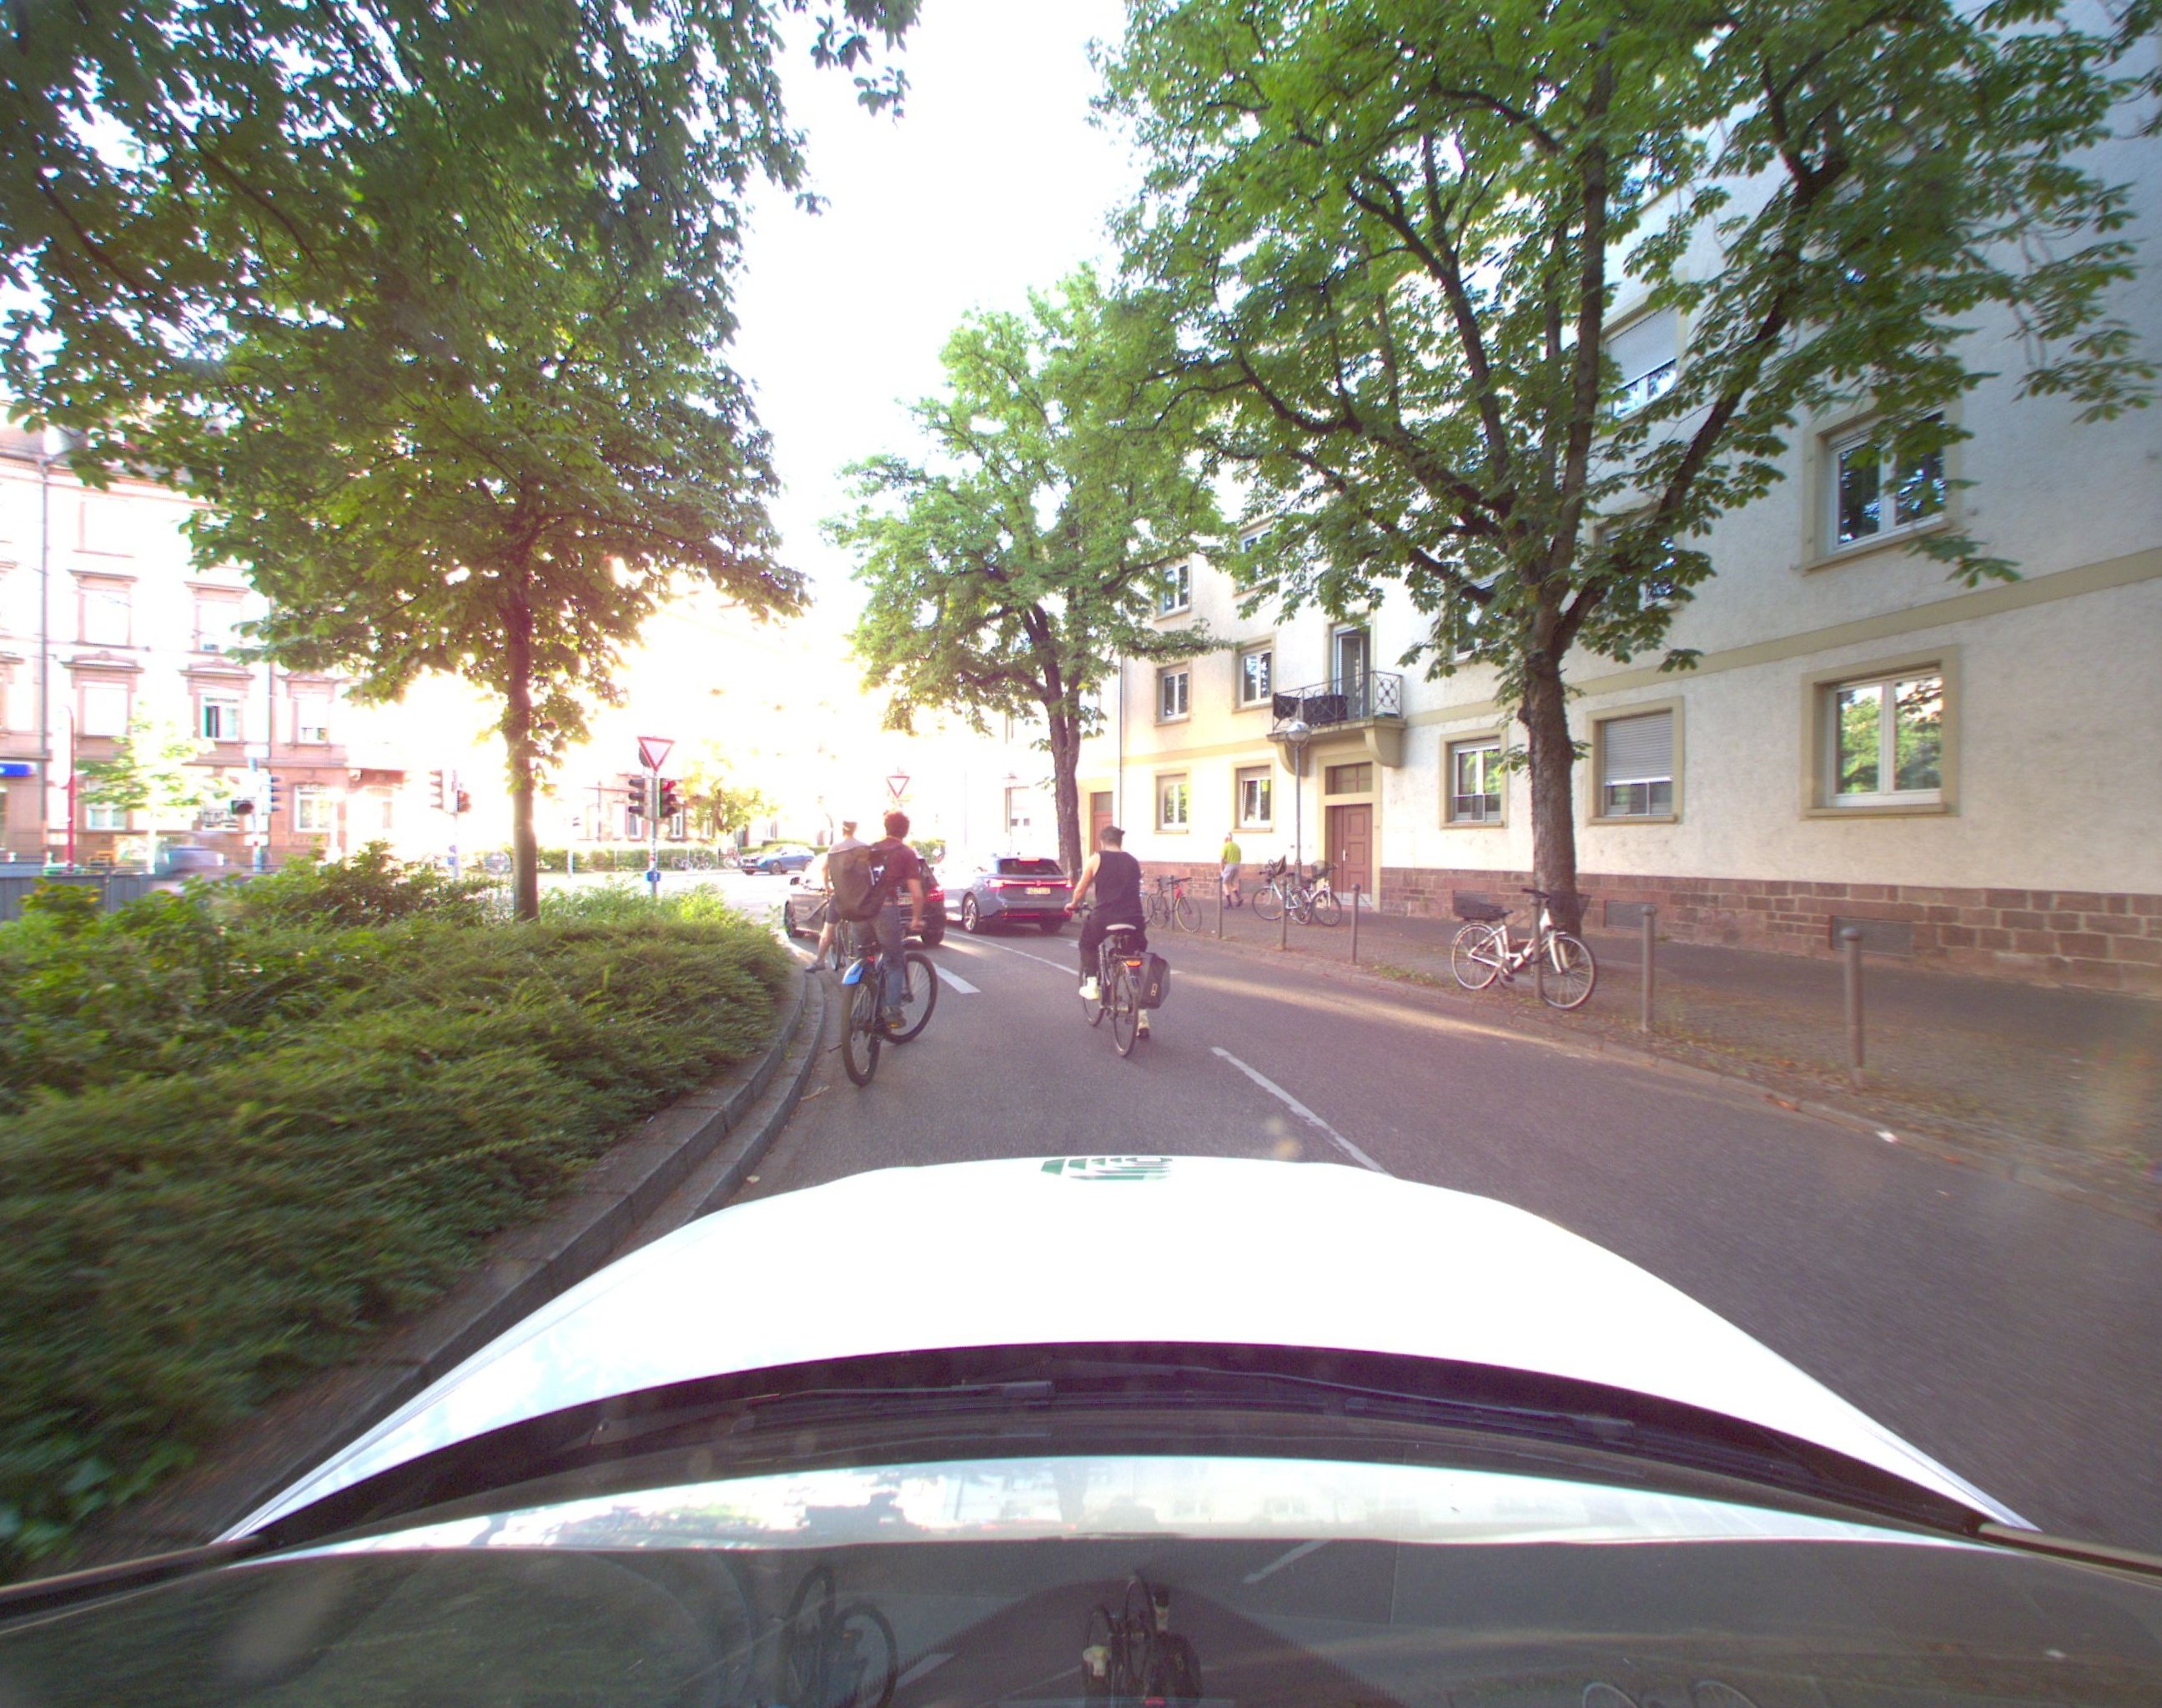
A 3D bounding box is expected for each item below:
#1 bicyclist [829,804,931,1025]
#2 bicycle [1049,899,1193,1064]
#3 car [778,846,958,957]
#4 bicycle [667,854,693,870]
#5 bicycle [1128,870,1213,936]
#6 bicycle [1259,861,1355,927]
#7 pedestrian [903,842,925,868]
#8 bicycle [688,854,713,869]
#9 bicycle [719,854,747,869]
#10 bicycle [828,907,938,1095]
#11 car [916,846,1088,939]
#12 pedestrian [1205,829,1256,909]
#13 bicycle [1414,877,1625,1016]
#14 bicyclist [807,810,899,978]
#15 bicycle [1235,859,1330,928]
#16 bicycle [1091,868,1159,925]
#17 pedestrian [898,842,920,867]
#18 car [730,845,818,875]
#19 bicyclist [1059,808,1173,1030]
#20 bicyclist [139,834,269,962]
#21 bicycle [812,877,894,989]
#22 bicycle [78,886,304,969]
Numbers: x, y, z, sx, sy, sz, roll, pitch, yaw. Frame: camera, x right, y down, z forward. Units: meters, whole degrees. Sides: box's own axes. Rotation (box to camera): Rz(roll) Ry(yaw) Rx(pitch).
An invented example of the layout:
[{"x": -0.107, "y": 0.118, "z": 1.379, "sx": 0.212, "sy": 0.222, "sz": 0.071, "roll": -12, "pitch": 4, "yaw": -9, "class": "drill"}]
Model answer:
[{"x": -1.491, "y": 0.412, "z": 6.163, "sx": 0.672, "sy": 1.514, "sz": 1.065, "roll": 0, "pitch": 0, "yaw": -12, "class": "bicyclist"}, {"x": 0.247, "y": 0.953, "z": 6.779, "sx": 0.738, "sy": 1.012, "sz": 2.054, "roll": -2, "pitch": 0, "yaw": -10, "class": "bicycle"}, {"x": -3.736, "y": 0.677, "z": 13.790, "sx": 1.825, "sy": 1.543, "sz": 3.918, "roll": -2, "pitch": 1, "yaw": -32, "class": "car"}, {"x": -22.089, "y": 0.444, "z": 44.870, "sx": 0.444, "sy": 0.861, "sz": 1.232, "roll": 1, "pitch": 0, "yaw": 35, "class": "bicycle"}, {"x": 1.608, "y": 0.854, "z": 14.977, "sx": 0.619, "sy": 1.058, "sz": 1.912, "roll": -2, "pitch": 1, "yaw": -26, "class": "bicycle"}, {"x": 4.277, "y": 0.720, "z": 15.587, "sx": 0.584, "sy": 1.114, "sz": 2.100, "roll": -1, "pitch": 1, "yaw": -24, "class": "bicycle"}, {"x": -12.829, "y": 0.074, "z": 62.491, "sx": 1.149, "sy": 1.962, "sz": 1.393, "roll": 1, "pitch": 0, "yaw": 15, "class": "pedestrian"}, {"x": -21.456, "y": 0.407, "z": 45.908, "sx": 0.444, "sy": 0.861, "sz": 1.232, "roll": 1, "pitch": 0, "yaw": 35, "class": "bicycle"}, {"x": -20.597, "y": 0.447, "z": 48.224, "sx": 0.444, "sy": 0.861, "sz": 1.456, "roll": 1, "pitch": 0, "yaw": 35, "class": "bicycle"}, {"x": -1.455, "y": 0.983, "z": 6.163, "sx": 0.674, "sy": 1.054, "sz": 2.053, "roll": 0, "pitch": -1, "yaw": -12, "class": "bicycle"}, {"x": -1.685, "y": 0.638, "z": 16.083, "sx": 1.904, "sy": 1.577, "sz": 3.962, "roll": 0, "pitch": 0, "yaw": -30, "class": "car"}, {"x": 3.477, "y": 0.324, "z": 18.905, "sx": 1.003, "sy": 1.795, "sz": 0.651, "roll": -2, "pitch": 1, "yaw": -42, "class": "pedestrian"}, {"x": 4.308, "y": 0.845, "z": 8.196, "sx": 0.617, "sy": 1.112, "sz": 1.980, "roll": -3, "pitch": 1, "yaw": -17, "class": "bicycle"}, {"x": -2.786, "y": 0.440, "z": 9.880, "sx": 0.855, "sy": 1.898, "sz": 1.129, "roll": 0, "pitch": 0, "yaw": -29, "class": "bicyclist"}, {"x": 3.742, "y": 0.696, "z": 15.311, "sx": 0.496, "sy": 1.172, "sz": 2.100, "roll": -4, "pitch": 2, "yaw": -24, "class": "bicycle"}, {"x": 0.844, "y": 0.817, "z": 16.369, "sx": 0.522, "sy": 0.999, "sz": 2.176, "roll": 0, "pitch": 0, "yaw": -21, "class": "bicycle"}, {"x": -13.497, "y": 0.036, "z": 63.799, "sx": 1.149, "sy": 1.962, "sz": 1.393, "roll": 1, "pitch": 0, "yaw": 15, "class": "pedestrian"}, {"x": -16.482, "y": 0.295, "z": 43.954, "sx": 1.977, "sy": 1.496, "sz": 4.397, "roll": 1, "pitch": 0, "yaw": 21, "class": "car"}, {"x": 0.263, "y": 0.491, "z": 6.704, "sx": 0.752, "sy": 1.682, "sz": 0.910, "roll": 0, "pitch": 0, "yaw": -11, "class": "bicyclist"}, {"x": -12.384, "y": 0.581, "z": 11.528, "sx": 0.688, "sy": 1.716, "sz": 1.052, "roll": 0, "pitch": 0, "yaw": 21, "class": "bicyclist"}, {"x": -2.843, "y": 0.896, "z": 10.013, "sx": 0.600, "sy": 1.161, "sz": 2.024, "roll": 0, "pitch": 0, "yaw": -26, "class": "bicycle"}, {"x": -12.401, "y": 0.983, "z": 11.452, "sx": 0.762, "sy": 0.958, "sz": 1.992, "roll": 1, "pitch": 0, "yaw": 21, "class": "bicycle"}]
